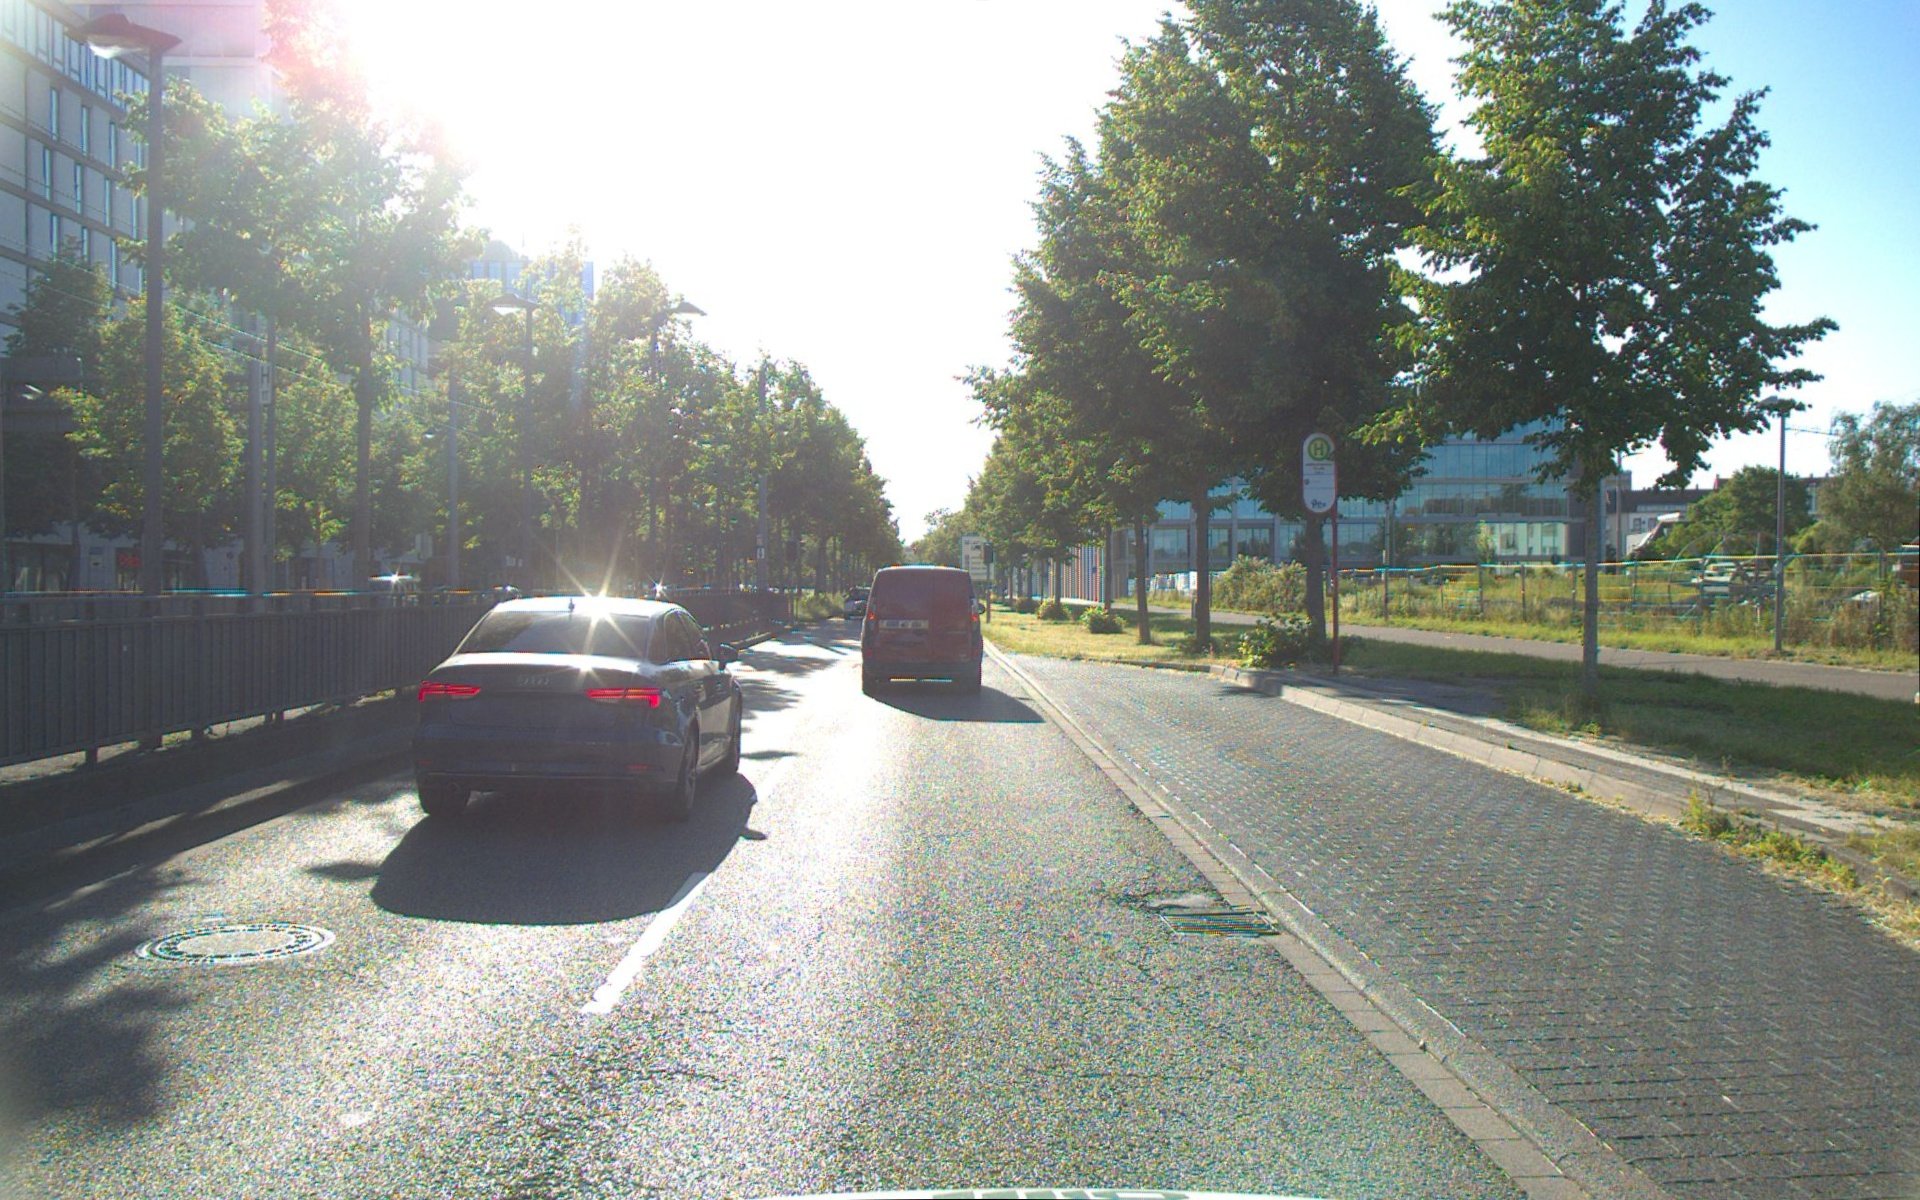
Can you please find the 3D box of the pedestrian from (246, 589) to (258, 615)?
[{"bbox_3d":[-39.052,0.127,91.229,0.399,1.437,0.690,0,-1,-1],"label":"pedestrian"}]

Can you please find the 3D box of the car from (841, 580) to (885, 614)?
[{"bbox_3d":[-4.355,-0.142,74.502,1.904,1.466,3.997,0,0,-3],"label":"car"}]

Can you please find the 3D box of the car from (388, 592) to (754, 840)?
[{"bbox_3d":[-2.538,0.673,11.781,1.686,1.390,4.145,1,1,-1],"label":"car"}]

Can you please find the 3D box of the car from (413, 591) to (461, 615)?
[{"bbox_3d":[-33.019,0.187,104.521,1.634,1.444,4.803,0,1,-2],"label":"car"}]

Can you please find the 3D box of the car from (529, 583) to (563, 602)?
[{"bbox_3d":[-32.858,-0.598,131.404,1.680,1.445,4.544,0,0,-1],"label":"car"}]

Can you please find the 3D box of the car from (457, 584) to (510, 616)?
[{"bbox_3d":[-23.675,-0.007,82.207,1.645,1.547,3.699,0,1,-2],"label":"car"}]

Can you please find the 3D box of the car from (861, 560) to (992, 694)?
[{"bbox_3d":[-0.568,0.342,24.939,1.762,1.808,3.998,2,1,-3],"label":"car"}]

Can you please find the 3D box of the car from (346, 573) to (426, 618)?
[{"bbox_3d":[-24.106,-0.184,69.574,1.953,1.780,4.226,-1,0,-2],"label":"car"}]
